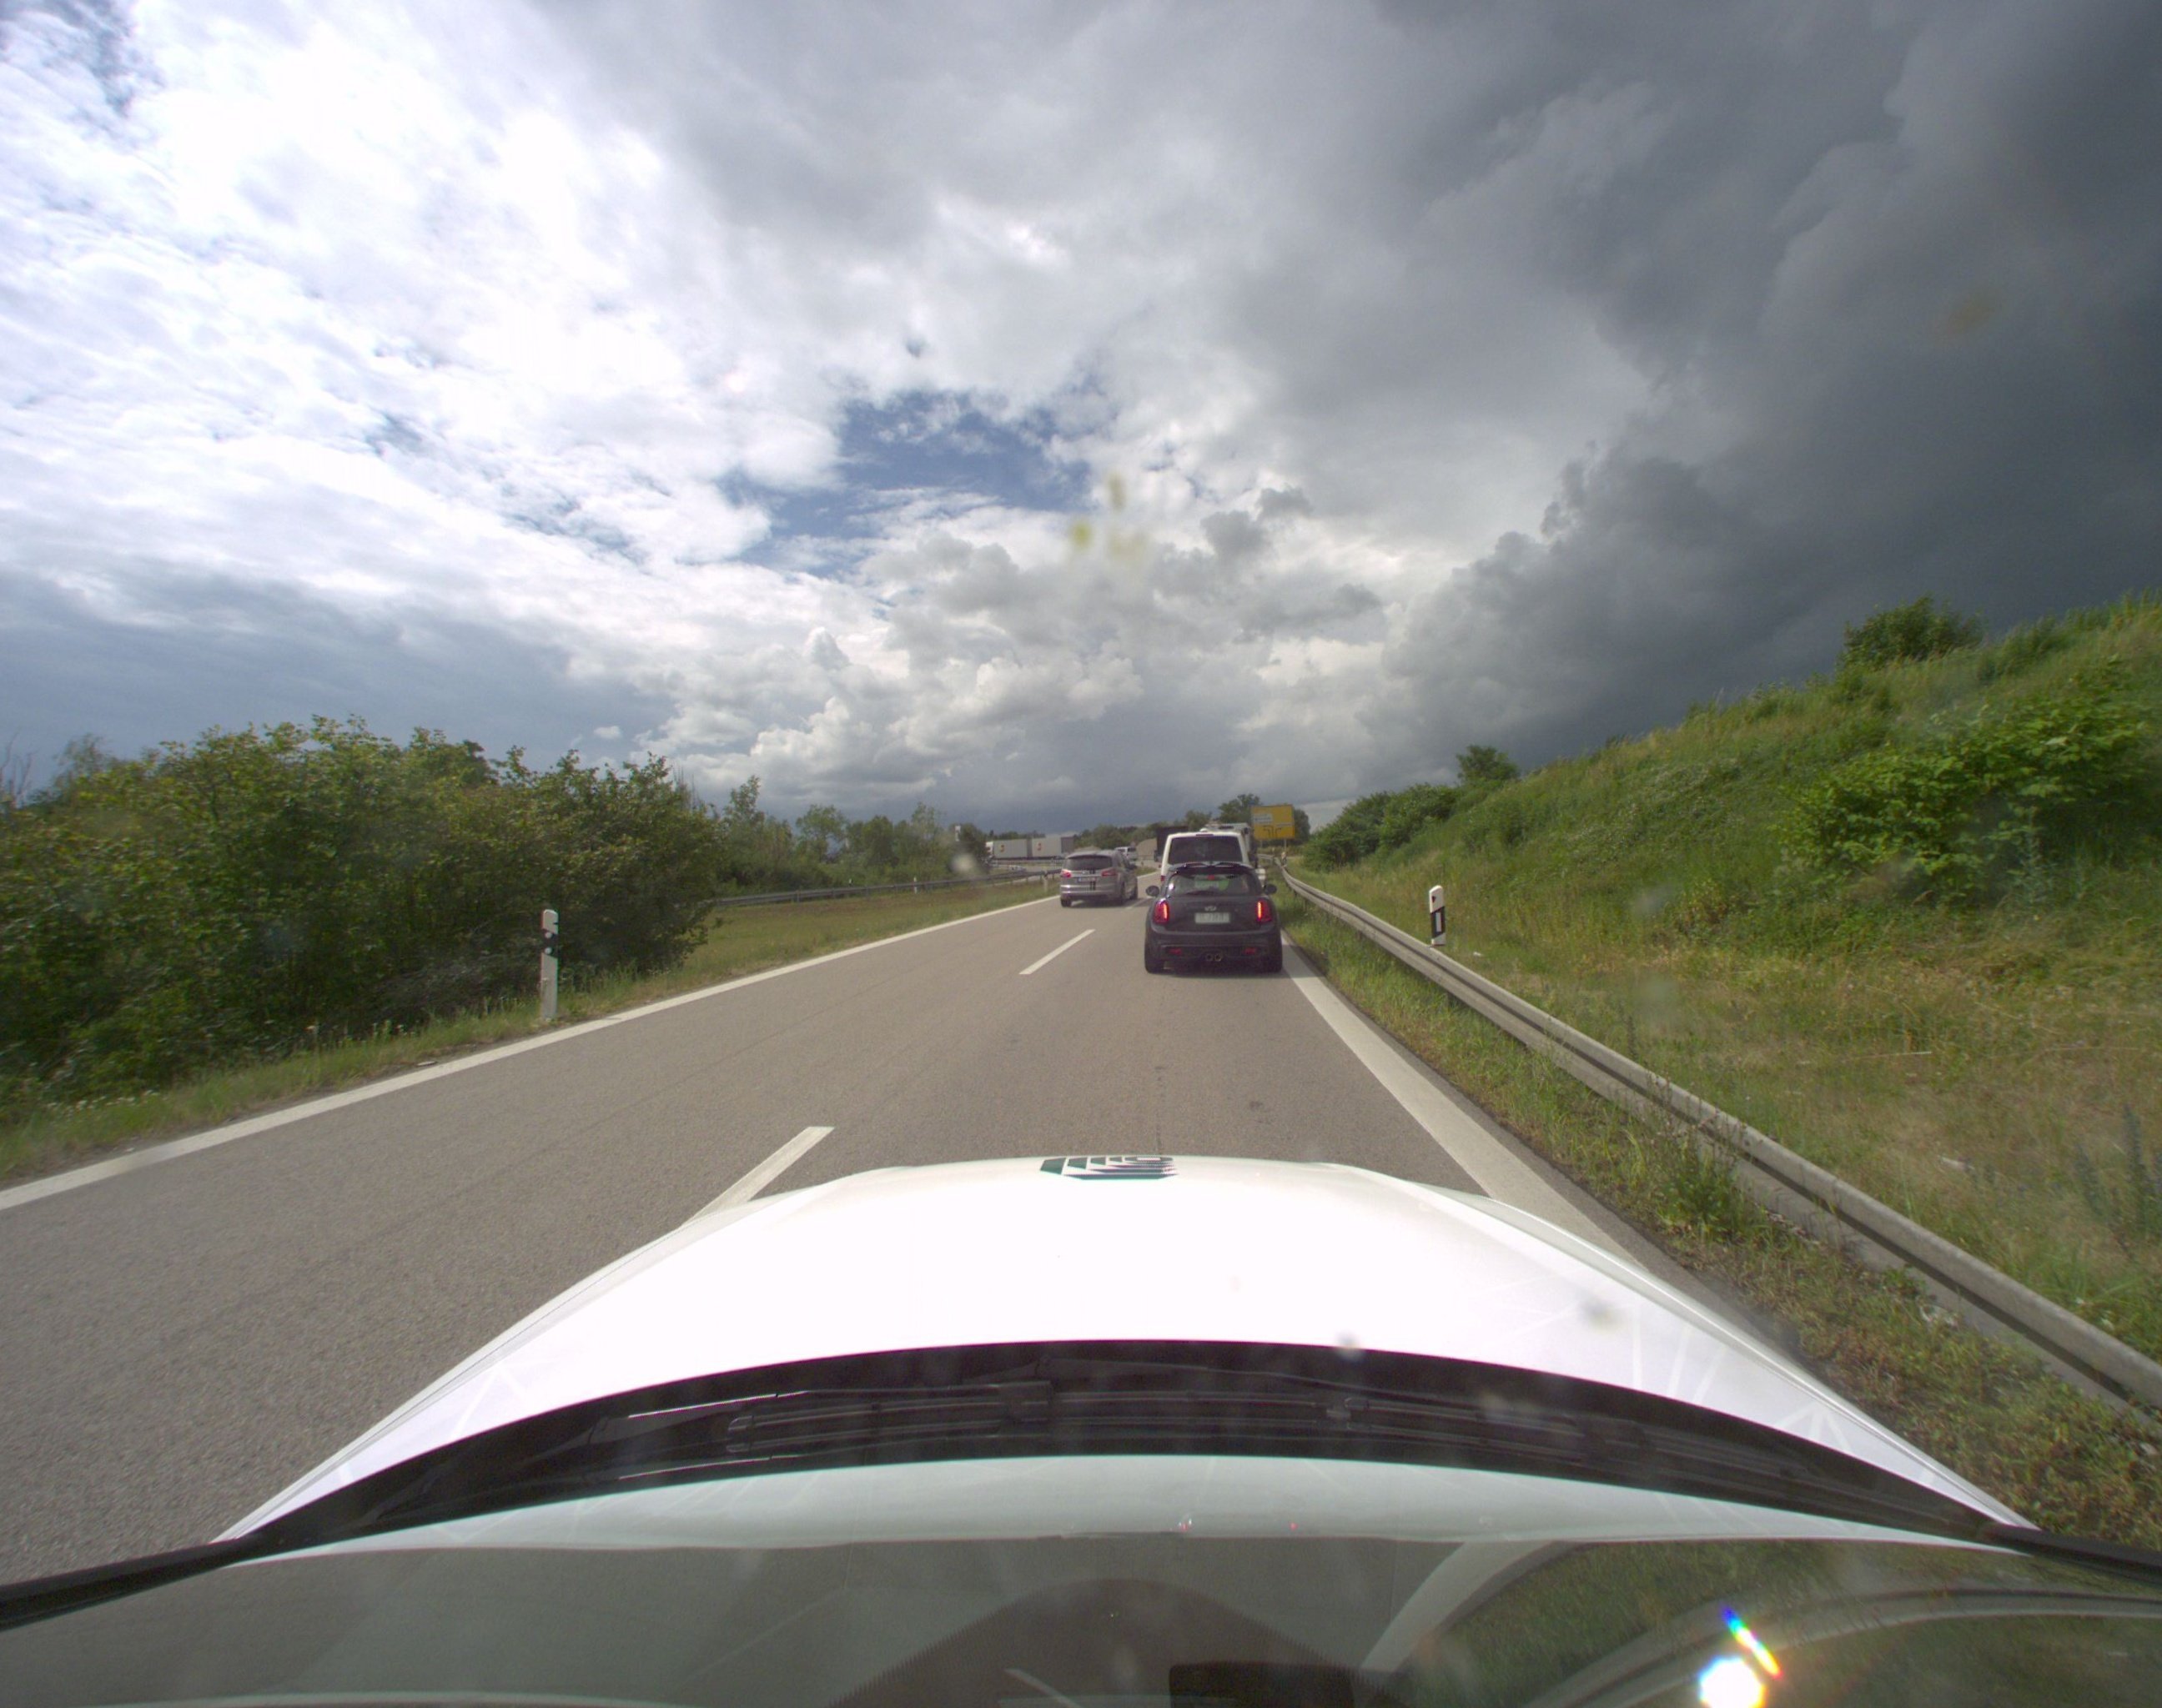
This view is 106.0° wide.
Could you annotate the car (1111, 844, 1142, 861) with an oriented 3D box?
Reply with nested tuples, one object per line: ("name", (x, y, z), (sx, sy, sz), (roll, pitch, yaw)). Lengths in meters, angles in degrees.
("car", (6.179, -0.128, 112.418), (2.299, 2.260, 5.068), (0, -1, -23))

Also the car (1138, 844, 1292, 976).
("car", (1.828, 0.678, 11.561), (1.790, 1.546, 3.746), (-1, 0, 7))

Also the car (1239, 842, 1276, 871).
("car", (10.219, 0.168, 47.459), (1.981, 1.642, 3.940), (-1, -1, 11))

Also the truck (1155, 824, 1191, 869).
("truck", (7.025, -0.470, 62.074), (2.547, 3.168, 7.482), (0, -1, 7))

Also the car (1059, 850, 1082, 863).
("car", (-1.568, 0.378, 118.134), (1.821, 1.756, 3.967), (0, -1, -25))

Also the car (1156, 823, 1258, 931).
("car", (2.786, 0.459, 17.708), (1.899, 2.045, 4.192), (-1, -1, 10))

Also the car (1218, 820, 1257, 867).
("car", (10.962, -0.634, 56.523), (2.294, 3.069, 6.686), (-1, -1, 14))

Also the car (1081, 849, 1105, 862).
("car", (1.706, 0.296, 120.072), (1.931, 1.838, 4.281), (0, -1, -25))

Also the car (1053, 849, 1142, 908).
("car", (0.622, 0.717, 25.072), (2.009, 1.577, 4.599), (-2, -1, 9))

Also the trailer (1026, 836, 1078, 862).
("trailer", (-4.532, -0.672, 126.083), (3.063, 3.898, 8.665), (1, -1, -44))

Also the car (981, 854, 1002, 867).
("car", (-12.573, 0.933, 114.693), (1.768, 1.593, 3.968), (-3, -1, -24))

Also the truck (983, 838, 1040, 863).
("truck", (-11.343, -0.510, 132.282), (9.900, 3.976, 2.863), (-1, -1, 38))

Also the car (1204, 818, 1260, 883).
("car", (6.663, -0.111, 35.904), (2.198, 2.623, 5.550), (-1, -1, 11))
